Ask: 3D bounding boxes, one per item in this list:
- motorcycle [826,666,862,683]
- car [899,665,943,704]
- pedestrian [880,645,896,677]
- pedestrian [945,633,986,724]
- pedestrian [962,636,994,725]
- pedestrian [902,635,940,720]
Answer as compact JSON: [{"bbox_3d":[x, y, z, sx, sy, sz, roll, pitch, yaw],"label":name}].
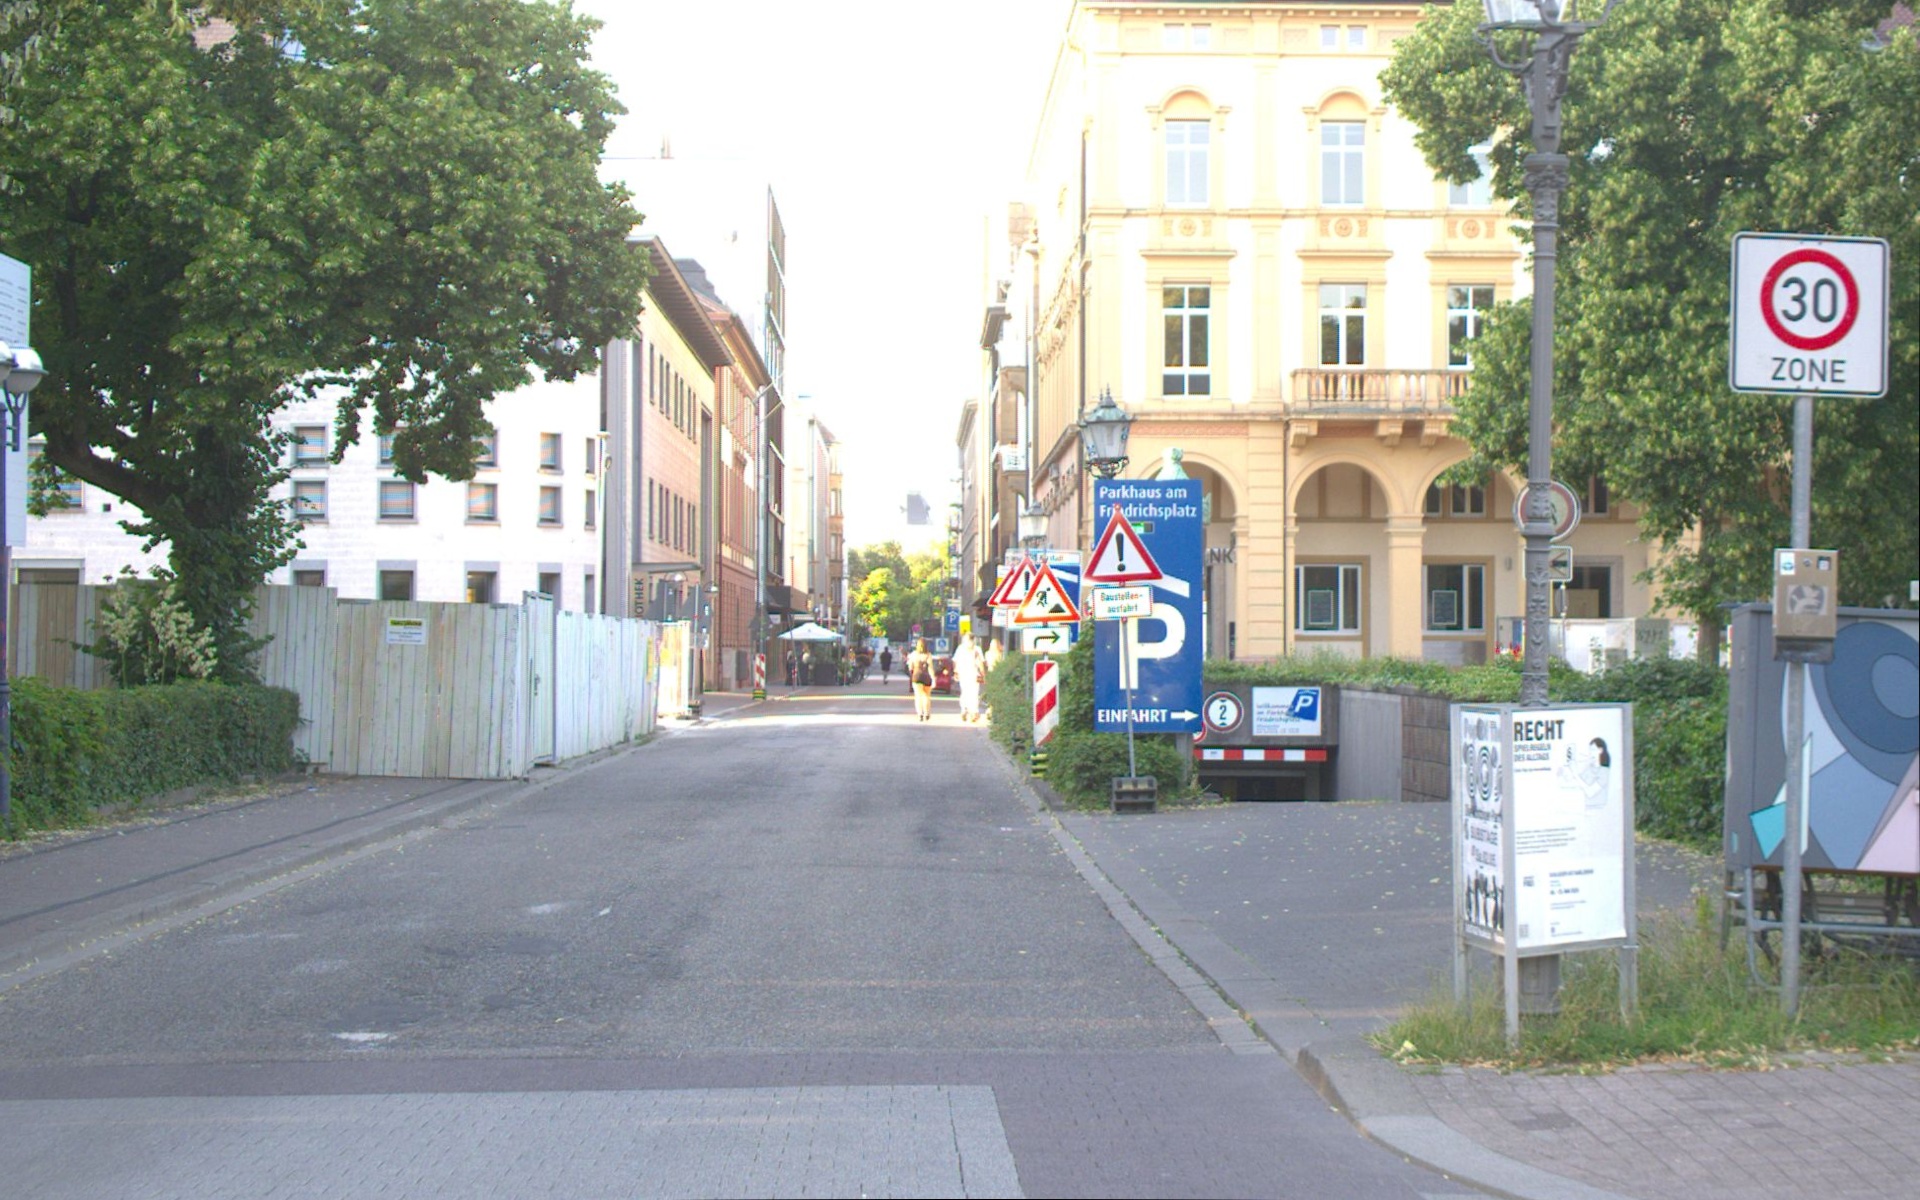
[{"bbox_3d":[-5.902,3.791,175.323,1.801,0.872,0.560,1,-1,-5],"label":"motorcycle"},{"bbox_3d":[-1.518,3.306,135.496,1.649,1.422,3.535,3,-1,0],"label":"car"},{"bbox_3d":[-3.799,3.224,181.479,0.804,1.667,0.888,0,-1,1],"label":"pedestrian"},{"bbox_3d":[0.117,1.614,70.682,0.812,1.869,0.875,0,-1,-2],"label":"pedestrian"},{"bbox_3d":[0.362,1.629,69.540,0.636,1.797,0.772,0,-1,-2],"label":"pedestrian"},{"bbox_3d":[-0.809,1.600,70.798,0.775,1.740,0.875,0,-1,-2],"label":"pedestrian"}]
